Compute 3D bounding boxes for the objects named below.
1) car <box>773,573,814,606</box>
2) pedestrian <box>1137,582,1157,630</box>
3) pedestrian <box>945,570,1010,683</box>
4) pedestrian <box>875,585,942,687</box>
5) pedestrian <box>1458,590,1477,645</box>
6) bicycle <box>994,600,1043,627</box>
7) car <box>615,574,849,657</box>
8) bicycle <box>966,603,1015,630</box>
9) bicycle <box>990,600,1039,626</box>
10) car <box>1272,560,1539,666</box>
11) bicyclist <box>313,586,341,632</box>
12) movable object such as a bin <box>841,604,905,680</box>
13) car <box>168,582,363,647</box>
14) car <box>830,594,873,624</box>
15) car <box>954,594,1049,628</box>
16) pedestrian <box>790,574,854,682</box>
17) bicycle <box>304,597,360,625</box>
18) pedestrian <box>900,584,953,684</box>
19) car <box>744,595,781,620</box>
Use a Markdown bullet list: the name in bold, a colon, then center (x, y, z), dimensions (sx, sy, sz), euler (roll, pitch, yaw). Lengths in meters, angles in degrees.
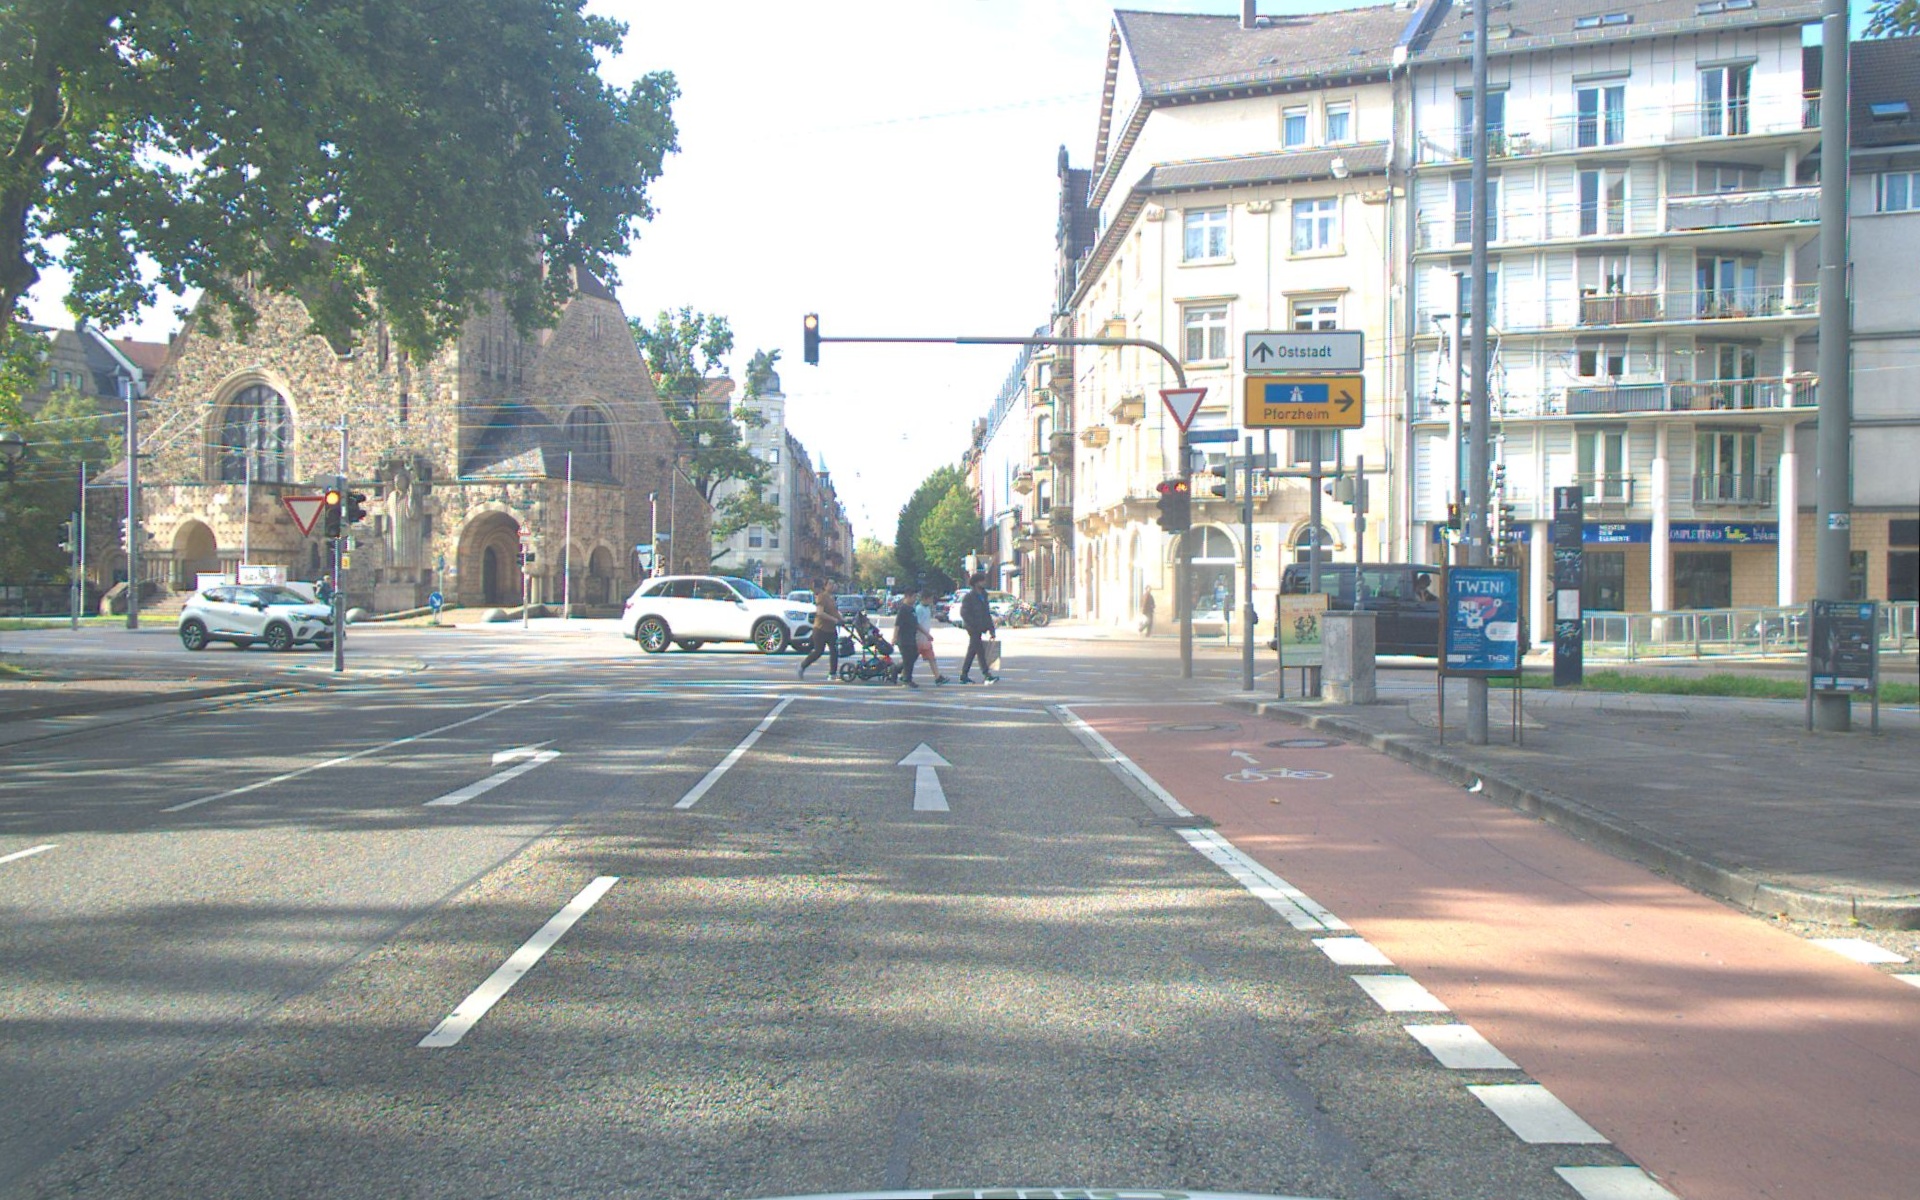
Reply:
- **car**: center (-9.052, -0.574, 90.208), dimensions (1.910, 1.780, 3.999), euler (0, 0, -2)
- **pedestrian**: center (6.540, 0.212, 57.855), dimensions (0.550, 1.652, 0.600), euler (0, 0, 19)
- **pedestrian**: center (0.265, 0.394, 25.248), dimensions (0.765, 1.691, 0.778), euler (0, 0, 21)
- **pedestrian**: center (-0.747, 0.510, 24.118), dimensions (0.765, 1.457, 0.731), euler (0, 0, 21)
- **pedestrian**: center (16.340, 0.577, 53.246), dimensions (0.485, 1.744, 0.527), euler (2, 0, 22)
- **bicycle**: center (2.448, 0.560, 69.500), dimensions (1.986, 1.101, 0.618), euler (0, 0, -12)
- **car**: center (-4.925, 0.299, 35.864), dimensions (4.607, 1.712, 2.018), euler (0, 0, 18)
- **bicycle**: center (1.268, 0.692, 69.435), dimensions (1.986, 1.101, 0.618), euler (0, 0, -12)
- **bicycle**: center (2.321, 0.553, 70.168), dimensions (1.986, 1.101, 0.629), euler (0, 0, -12)
- **car**: center (8.435, 0.211, 31.342), dimensions (4.742, 1.903, 2.032), euler (0, 0, 18)
- **bicyclist**: center (-23.388, 0.320, 61.144), dimensions (0.712, 1.691, 0.716), euler (0, 0, 40)
- **movable object such as a bin**: center (-1.336, 0.645, 25.516), dimensions (0.820, 1.143, 0.575), euler (0, 0, 22)
- **car**: center (-16.956, 0.337, 40.413), dimensions (4.158, 1.505, 1.899), euler (0, 0, 18)
- **car**: center (-5.193, 0.424, 79.389), dimensions (1.910, 1.396, 3.999), euler (0, 0, -2)
- **car**: center (1.777, 0.482, 71.831), dimensions (3.909, 1.445, 1.998), euler (0, 0, -5)
- **pedestrian**: center (-2.154, 0.429, 25.860), dimensions (0.798, 1.657, 0.605), euler (0, 0, 23)
- **bicycle**: center (-23.277, 0.406, 61.334), dimensions (0.626, 0.997, 1.916), euler (0, 0, 39)
- **pedestrian**: center (-0.497, 0.498, 24.698), dimensions (0.641, 1.457, 0.498), euler (0, 0, 21)
- **car**: center (-12.214, 0.439, 102.582), dimensions (1.953, 1.523, 3.999), euler (0, 1, -2)
